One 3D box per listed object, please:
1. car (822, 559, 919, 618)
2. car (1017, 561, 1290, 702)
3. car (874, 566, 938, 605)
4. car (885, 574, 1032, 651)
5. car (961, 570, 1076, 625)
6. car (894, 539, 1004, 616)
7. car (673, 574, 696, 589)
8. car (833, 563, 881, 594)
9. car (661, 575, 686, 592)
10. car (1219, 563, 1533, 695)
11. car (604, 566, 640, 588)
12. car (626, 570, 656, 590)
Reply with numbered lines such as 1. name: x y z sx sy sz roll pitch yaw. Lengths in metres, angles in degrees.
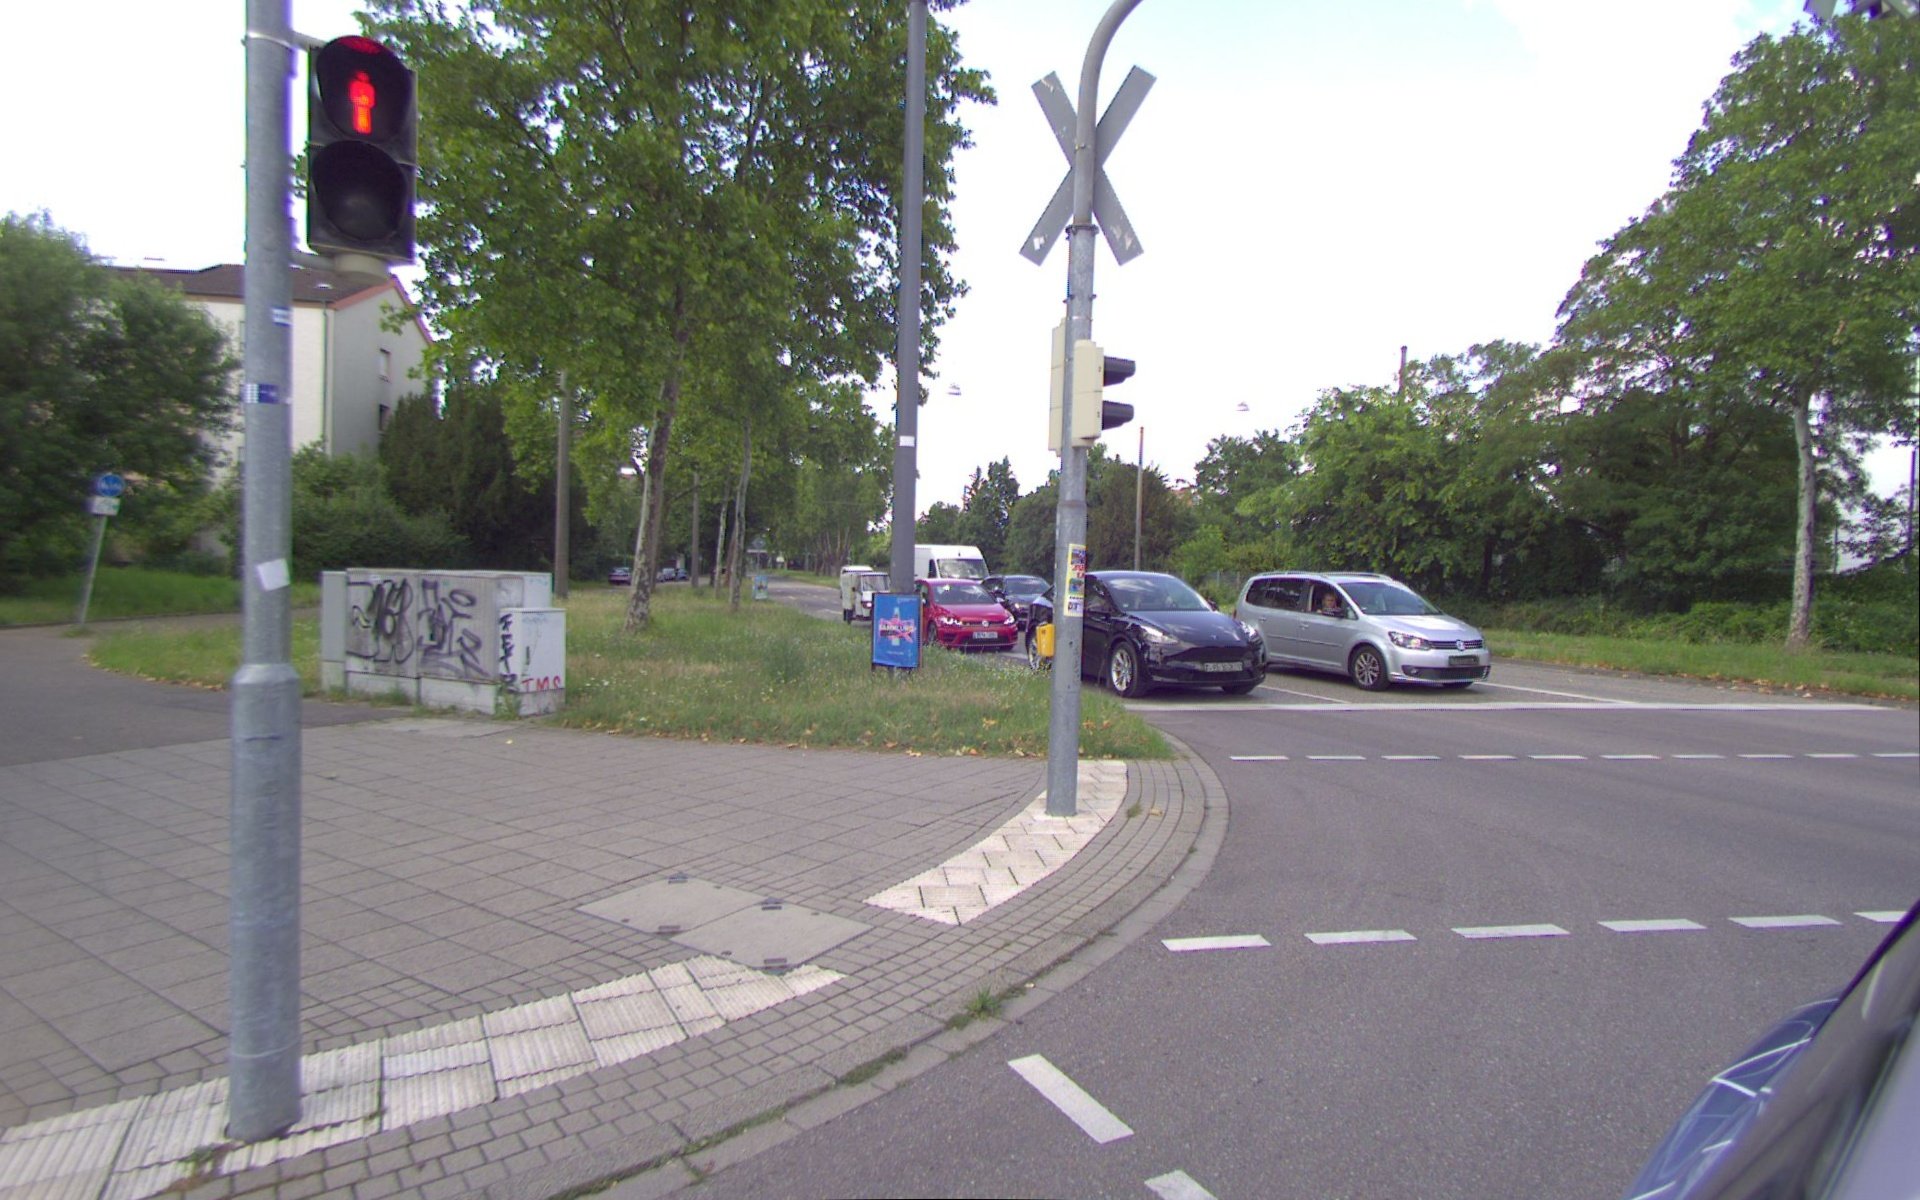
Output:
1. car: -2.700 -0.398 29.662 1.764 1.589 4.513 -1 2 -19
2. car: 2.518 0.285 14.524 1.891 1.672 4.591 -1 2 -17
3. car: -2.426 -0.681 44.509 1.805 1.638 4.166 0 2 -18
4. car: -0.159 0.187 21.768 1.764 1.408 4.513 -1 2 -19
5. car: 1.557 -0.144 28.762 1.728 1.392 4.354 -1 2 -19
6. car: -0.534 -0.866 36.642 2.181 2.561 5.947 -1 2 -19
7. car: -30.602 -2.040 112.362 1.742 1.616 3.658 1 0 -3
8. car: -5.861 -1.251 57.107 1.727 1.667 4.354 1 2 -19
9. car: -29.580 -1.659 104.518 1.742 1.616 3.658 1 0 -3
10. car: 6.039 0.286 15.380 1.890 1.672 4.513 -1 2 -19
11. car: -26.747 -1.766 80.183 1.742 1.616 3.658 1 0 -3
12. car: -28.104 -1.731 89.256 1.742 1.616 3.658 1 0 -3
